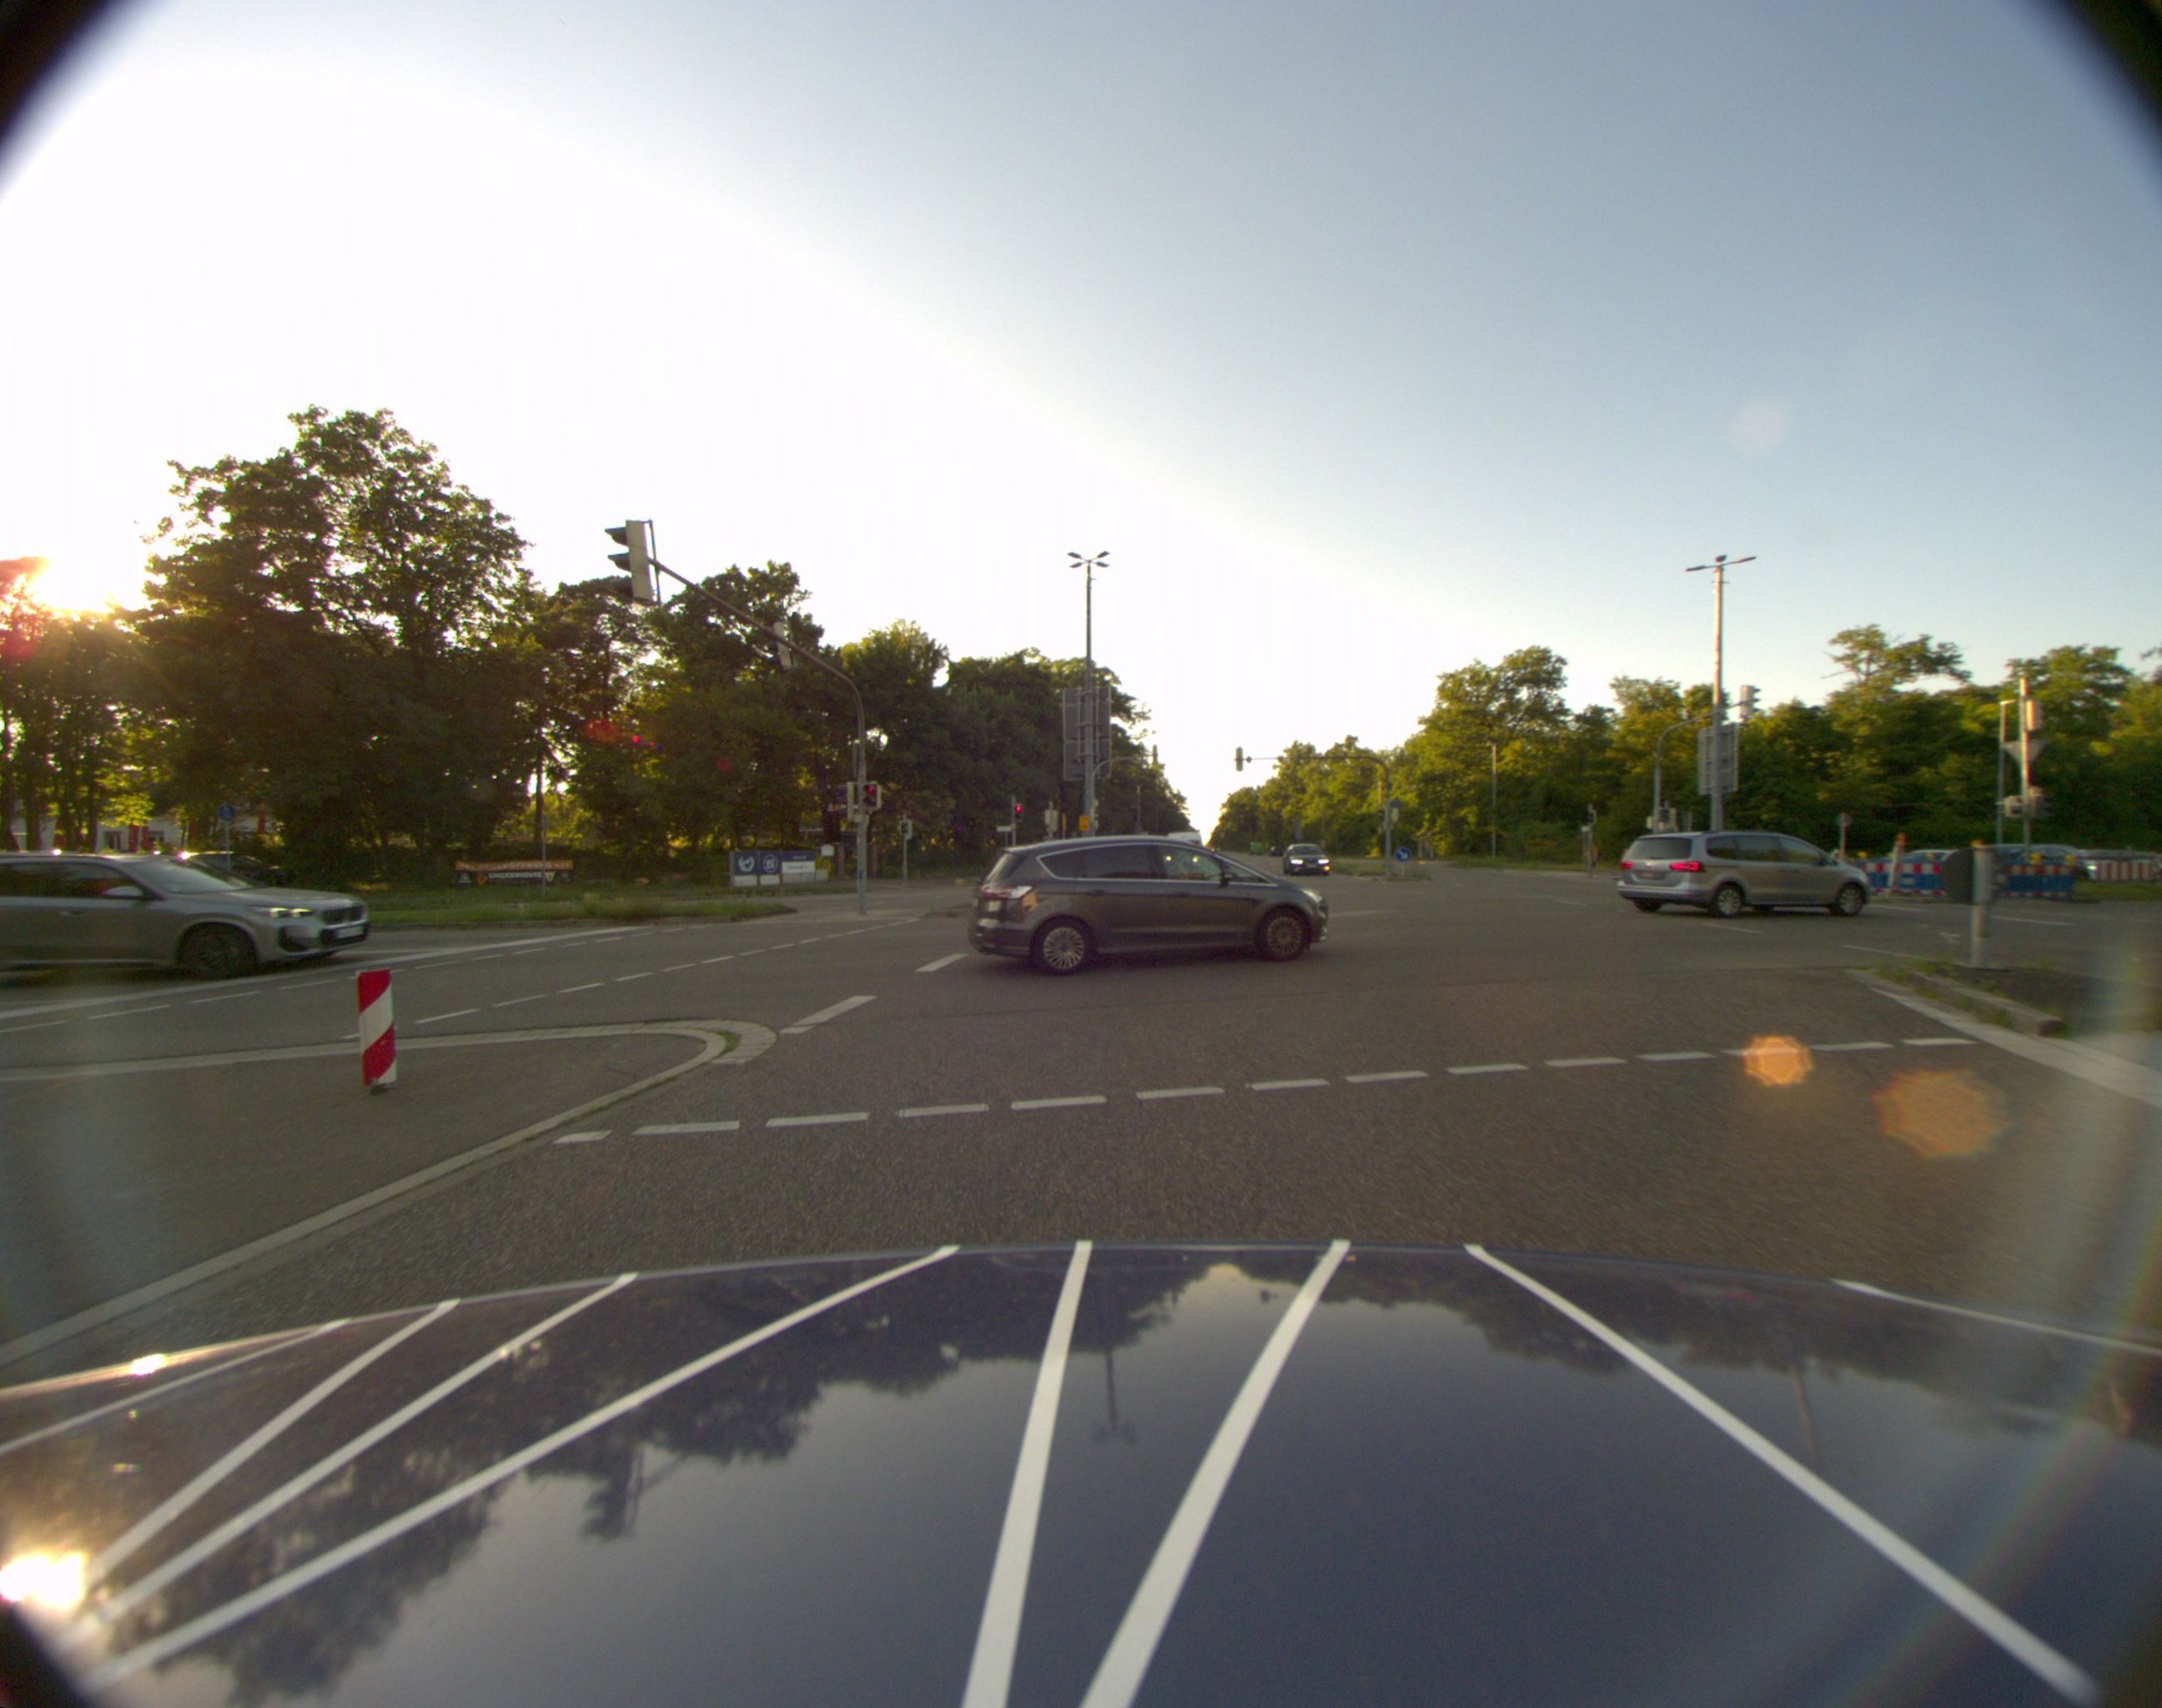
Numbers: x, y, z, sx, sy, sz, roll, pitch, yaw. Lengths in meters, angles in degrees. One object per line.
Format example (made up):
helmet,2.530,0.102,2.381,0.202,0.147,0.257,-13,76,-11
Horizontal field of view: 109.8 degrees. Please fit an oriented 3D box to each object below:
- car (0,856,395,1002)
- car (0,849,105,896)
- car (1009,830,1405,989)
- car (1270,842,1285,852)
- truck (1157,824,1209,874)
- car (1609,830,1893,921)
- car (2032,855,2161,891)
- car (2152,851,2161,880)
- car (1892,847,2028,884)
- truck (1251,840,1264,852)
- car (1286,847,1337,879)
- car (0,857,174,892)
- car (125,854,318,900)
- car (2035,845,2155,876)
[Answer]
car,-12.453,0.904,10.138,4.399,1.615,1.997,-1,3,-14
car,-39.281,0.681,27.504,4.551,1.649,1.862,-1,1,-18
car,1.595,0.589,10.216,4.823,1.652,2.009,-3,3,-13
car,31.217,-1.132,120.896,1.662,1.320,4.047,0,2,5
truck,5.976,-0.256,43.912,2.602,2.542,6.028,-3,-1,10
car,13.726,0.389,15.681,4.660,1.714,1.870,0,1,-9
car,43.956,0.786,32.786,4.233,1.447,1.720,-1,1,-8
car,57.198,0.559,38.376,4.401,1.447,1.720,-1,1,-7
car,37.436,0.469,32.402,4.233,1.447,1.720,-1,1,-7
truck,32.750,-1.550,140.838,1.997,2.109,4.001,0,1,7
car,11.865,0.439,39.414,2.000,1.511,4.002,0,1,9
car,-43.366,0.861,33.156,4.551,1.399,1.862,-1,1,-18
car,-33.044,0.842,29.433,4.554,1.648,1.861,0,1,-28
car,50.175,0.284,37.629,4.233,1.447,1.720,-1,1,-7
